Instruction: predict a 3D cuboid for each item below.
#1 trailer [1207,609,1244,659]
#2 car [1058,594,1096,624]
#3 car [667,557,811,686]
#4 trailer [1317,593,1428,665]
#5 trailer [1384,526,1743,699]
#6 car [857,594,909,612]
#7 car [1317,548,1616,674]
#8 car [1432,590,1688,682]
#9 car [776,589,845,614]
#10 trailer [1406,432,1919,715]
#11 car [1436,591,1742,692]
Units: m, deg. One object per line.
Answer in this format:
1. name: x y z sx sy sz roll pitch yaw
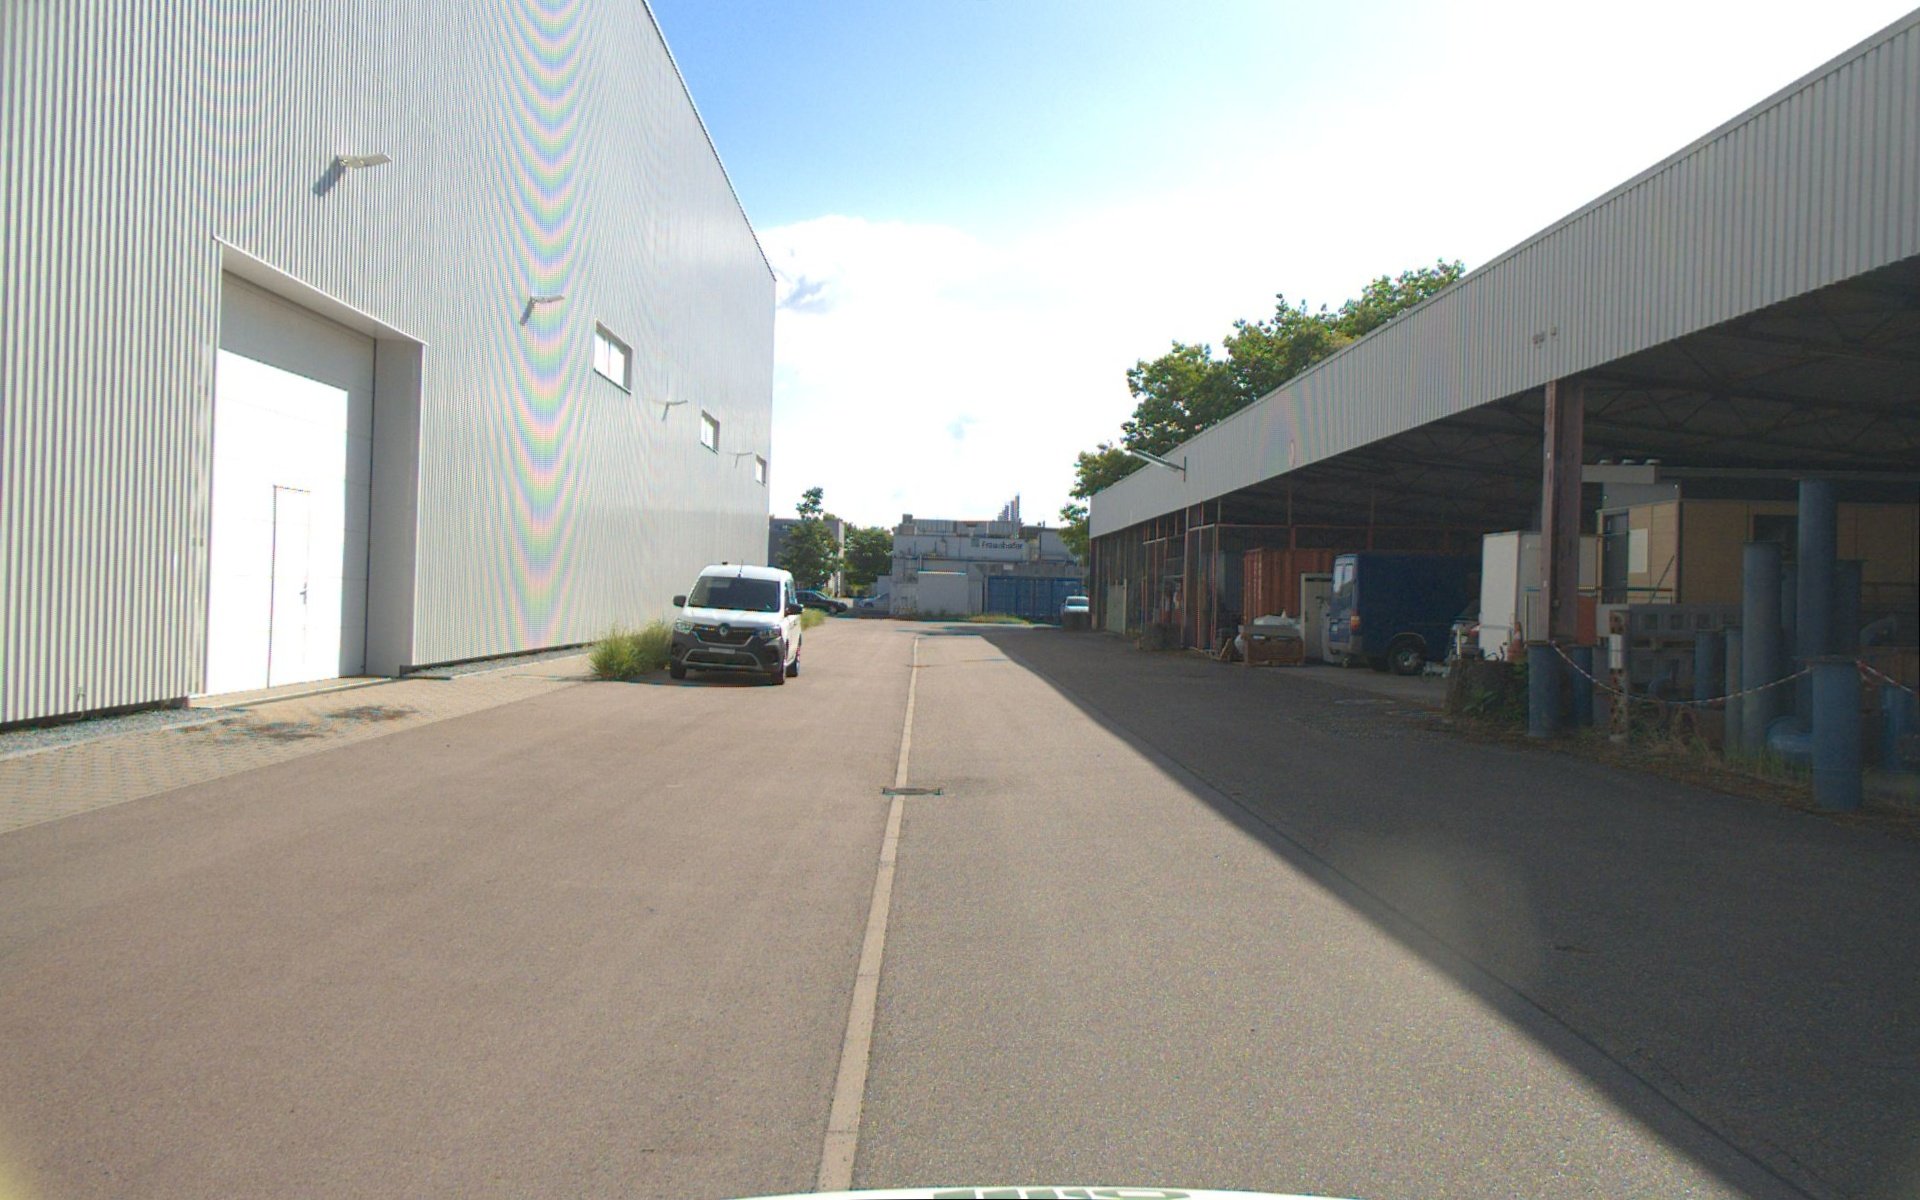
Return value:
1. trailer: 6.130 0.776 38.247 0.541 1.138 1.546 0 0 -3
2. car: 6.806 0.520 96.844 1.939 1.630 4.377 0 1 0
3. car: -3.514 0.333 27.049 1.747 1.847 4.600 3 0 -1
4. trailer: 8.742 0.600 35.211 1.996 1.492 1.739 0 0 3
5. trailer: 8.580 0.172 23.798 4.424 2.383 2.047 0 0 -1
6. car: -6.346 0.254 136.831 4.216 1.483 1.823 0 0 -2
7. car: 9.908 0.217 32.632 5.225 2.321 2.152 1 -1 -2
8. car: 10.644 0.636 29.497 3.886 1.540 1.838 1 0 -5
9. car: -9.820 0.106 108.835 4.358 1.558 1.823 0 0 -2
10. trailer: 11.161 -0.323 21.374 10.059 3.401 2.800 0 0 -1
11. car: 9.963 0.647 26.393 4.165 1.497 1.868 1 0 -5
